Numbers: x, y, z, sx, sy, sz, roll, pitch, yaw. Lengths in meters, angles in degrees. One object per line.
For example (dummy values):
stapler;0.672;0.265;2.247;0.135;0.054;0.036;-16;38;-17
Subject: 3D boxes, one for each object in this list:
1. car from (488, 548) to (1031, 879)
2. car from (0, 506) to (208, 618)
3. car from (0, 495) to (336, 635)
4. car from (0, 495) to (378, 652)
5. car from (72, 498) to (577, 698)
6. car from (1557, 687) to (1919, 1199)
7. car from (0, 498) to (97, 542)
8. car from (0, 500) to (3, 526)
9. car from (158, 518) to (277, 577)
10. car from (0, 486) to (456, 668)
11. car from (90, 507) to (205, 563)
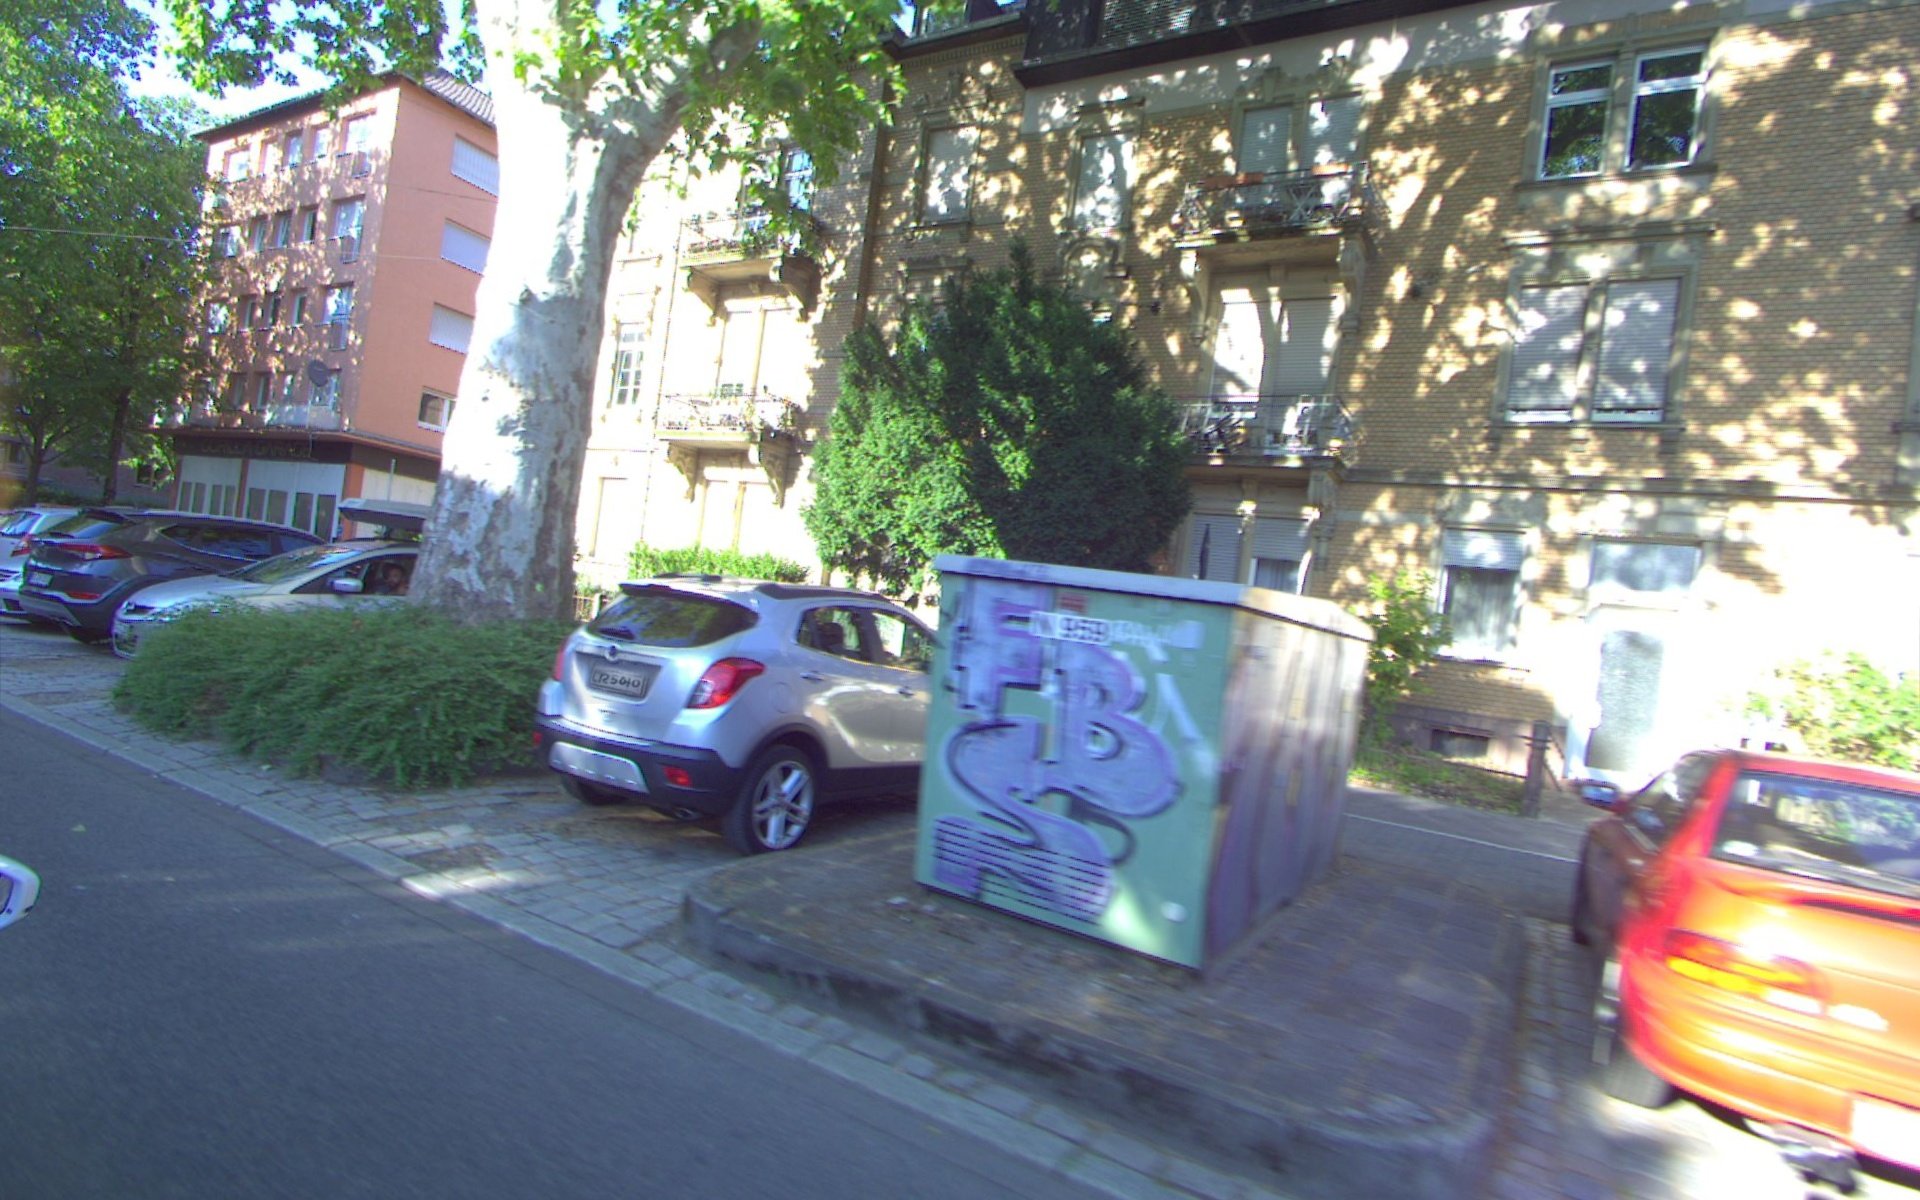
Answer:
car;-1.159;0.700;7.436;1.760;1.639;3.788;7;0;29
car;-14.827;-0.701;15.944;1.787;1.464;4.208;7;-2;31
car;-12.343;-0.485;15.461;1.788;1.574;4.205;7;-2;34
car;-10.702;-0.298;13.835;1.788;1.592;4.205;7;-2;34
car;-6.653;0.105;11.032;1.788;1.638;4.205;7;-2;34
car;3.795;1.279;4.424;1.760;1.506;3.788;7;0;29
car;-41.641;-3.653;45.463;1.655;1.469;3.545;7;-1;29
car;-23.852;-1.794;21.591;1.920;1.561;4.409;7;-2;34
car;-24.376;-1.720;33.008;3.885;1.452;1.751;7;-1;32
car;-8.808;-0.156;12.415;1.846;1.638;4.210;7;-1;29
car;-28.816;-2.320;35.648;4.394;1.452;1.751;7;-1;32
